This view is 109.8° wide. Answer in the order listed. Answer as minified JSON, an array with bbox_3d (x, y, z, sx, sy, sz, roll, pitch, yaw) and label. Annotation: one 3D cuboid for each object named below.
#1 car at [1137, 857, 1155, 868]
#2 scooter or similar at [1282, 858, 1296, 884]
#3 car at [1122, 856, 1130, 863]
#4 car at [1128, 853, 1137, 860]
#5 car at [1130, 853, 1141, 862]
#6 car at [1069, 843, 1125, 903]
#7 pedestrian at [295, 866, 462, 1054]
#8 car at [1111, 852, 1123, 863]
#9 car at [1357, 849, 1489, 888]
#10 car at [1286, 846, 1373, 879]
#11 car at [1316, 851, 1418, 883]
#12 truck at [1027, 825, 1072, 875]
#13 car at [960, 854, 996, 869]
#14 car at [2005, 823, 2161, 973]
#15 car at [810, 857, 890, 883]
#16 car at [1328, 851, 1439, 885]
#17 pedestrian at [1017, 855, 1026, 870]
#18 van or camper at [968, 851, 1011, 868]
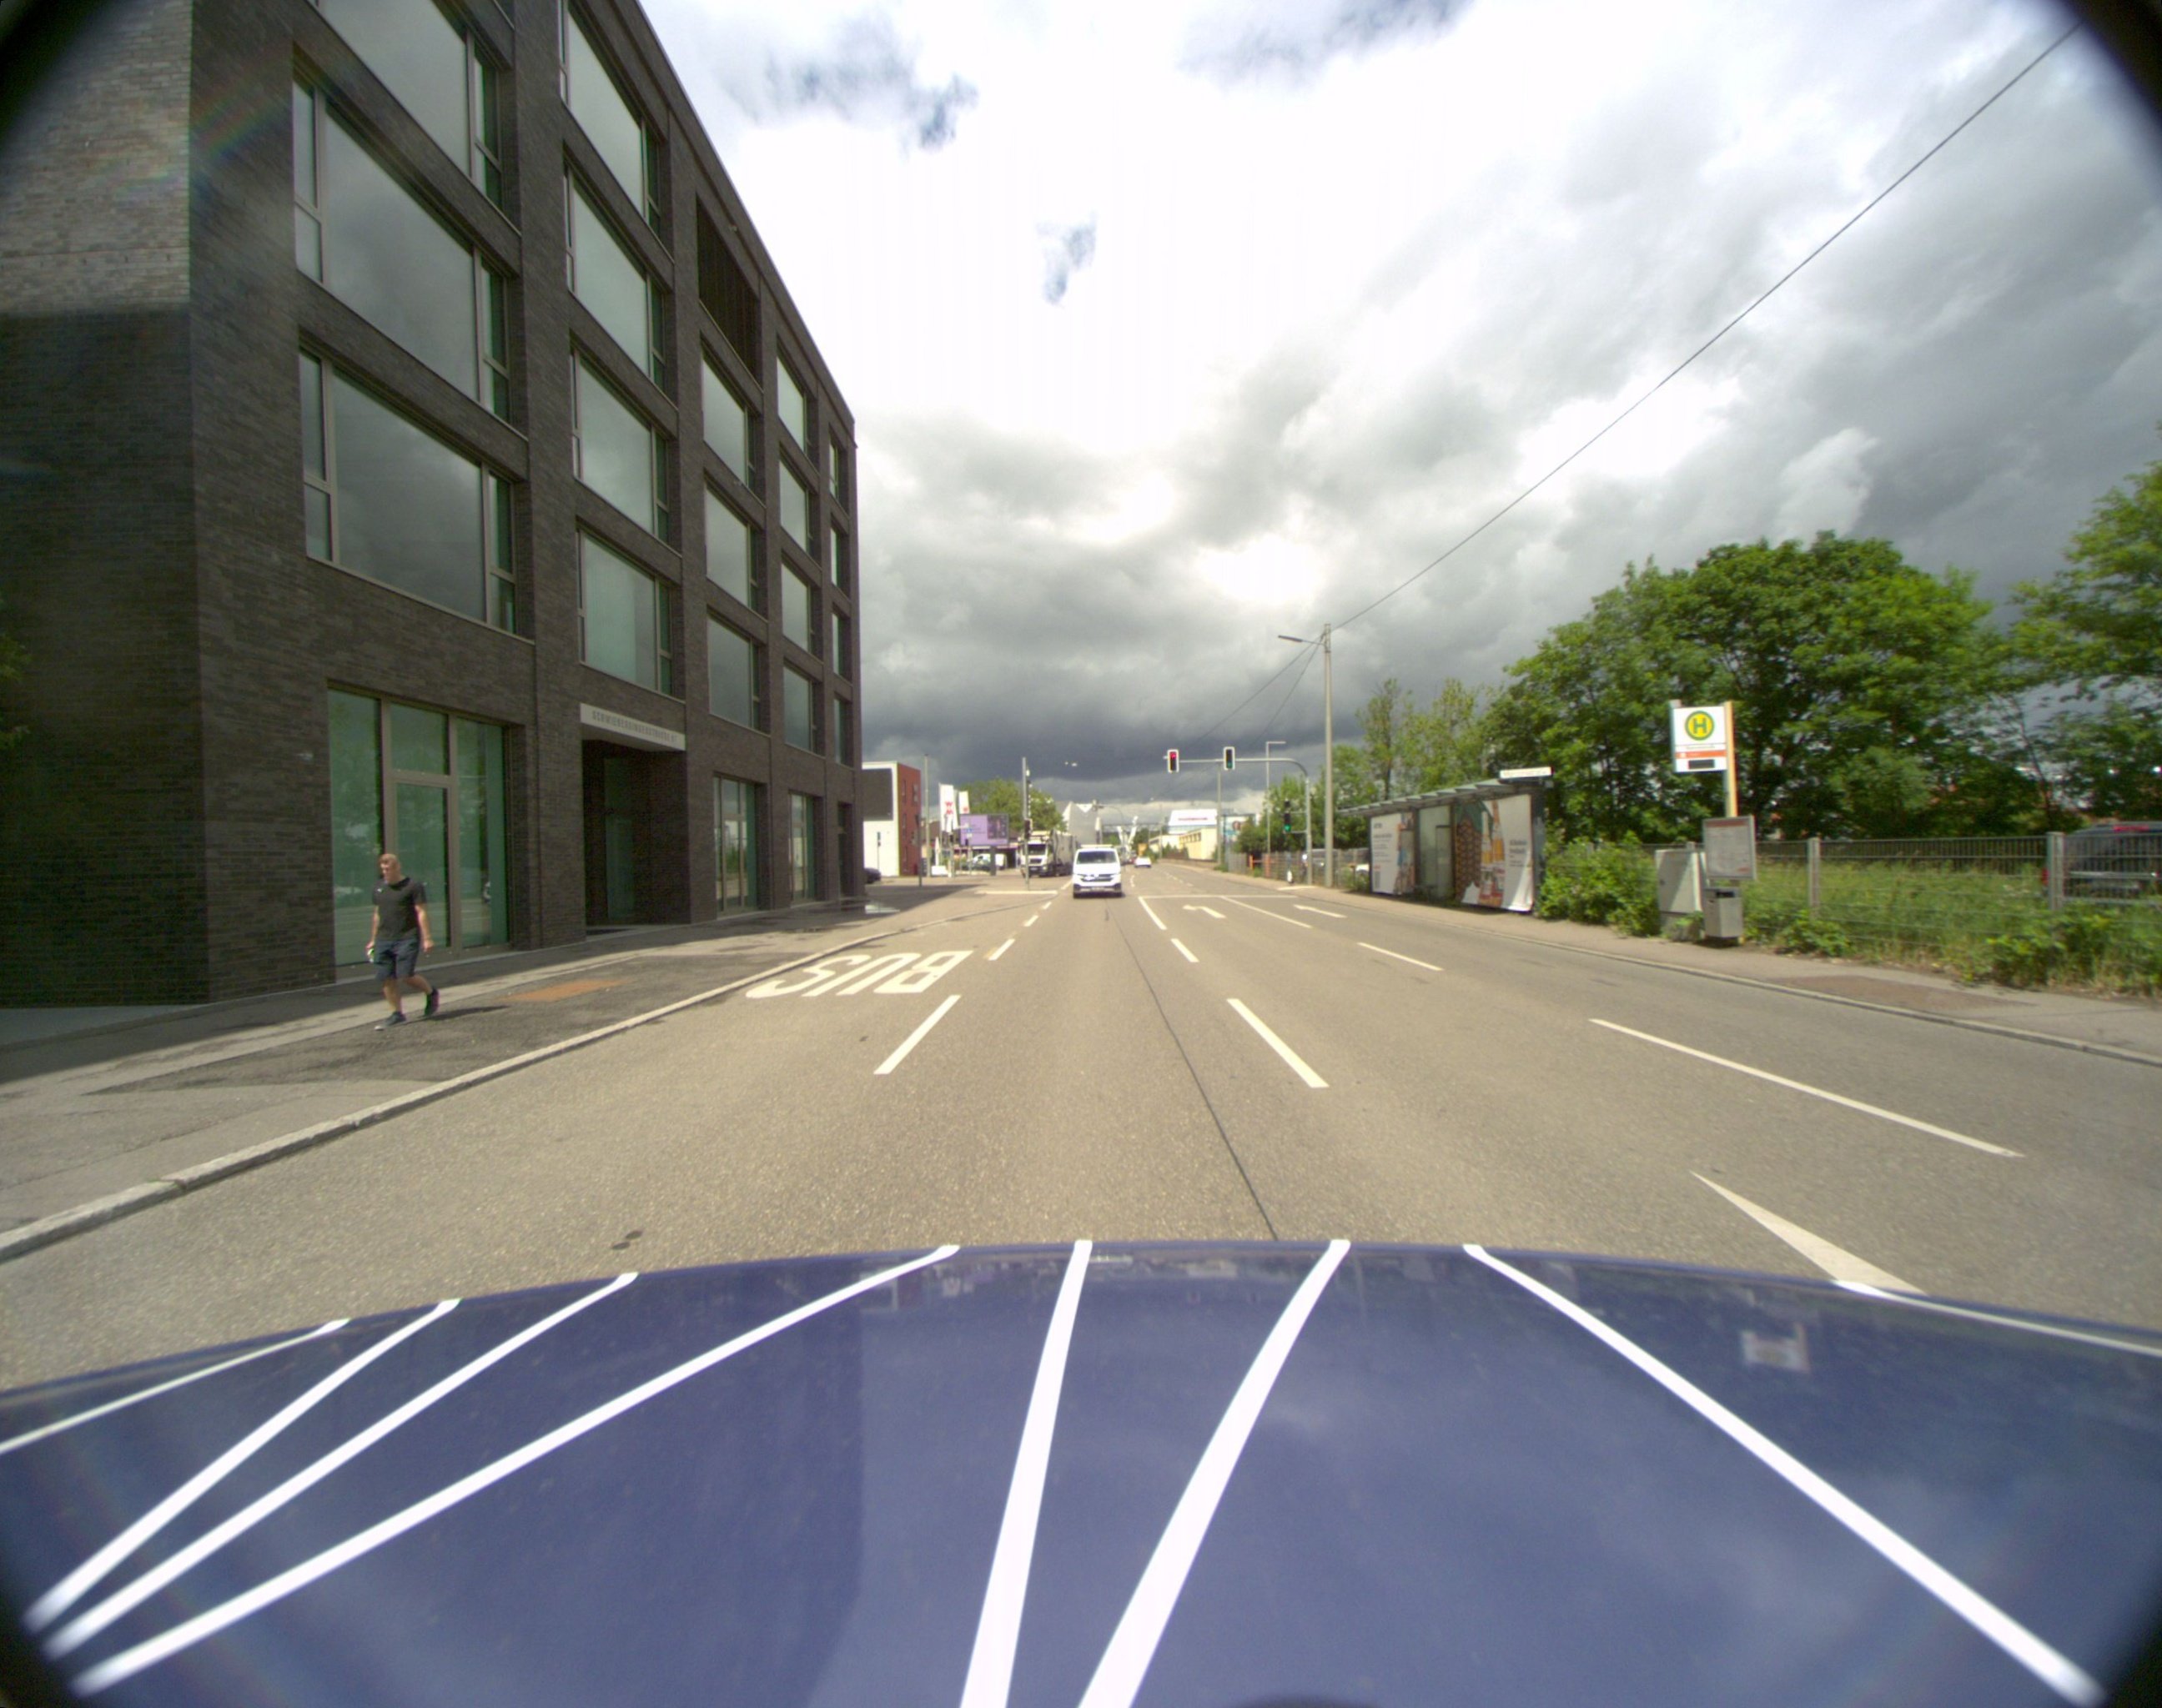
[{"bbox_3d":[7.814,0.998,91.660,1.801,1.368,4.224,0,0,1],"label":"car"},{"bbox_3d":[10.323,0.838,37.652,0.424,1.203,1.126,-3,0,6],"label":"scooter or similar"},{"bbox_3d":[11.820,1.463,198.690,1.860,1.608,4.001,-2,0,2],"label":"car"},{"bbox_3d":[12.197,0.591,180.260,1.860,1.608,4.001,-2,0,2],"label":"car"},{"bbox_3d":[10.593,0.703,148.218,1.935,1.590,4.153,1,0,2],"label":"car"},{"bbox_3d":[0.688,0.660,28.978,1.935,2.078,4.208,-1,1,4],"label":"car"},{"bbox_3d":[-6.924,0.992,7.549,0.685,1.718,0.962,-2,0,0],"label":"pedestrian"},{"bbox_3d":[6.117,0.542,130.177,1.870,1.782,4.208,-1,0,1],"label":"car"},{"bbox_3d":[13.522,0.549,30.250,4.321,1.410,2.025,-1,0,2],"label":"car"},{"bbox_3d":[13.593,0.473,41.757,4.114,1.724,1.999,-1,0,-3],"label":"car"},{"bbox_3d":[13.573,0.600,36.252,4.114,1.410,2.000,-1,0,-2],"label":"car"},{"bbox_3d":[-2.506,-0.379,64.477,2.836,3.889,10.366,-1,1,3],"label":"truck"},{"bbox_3d":[-11.525,0.882,85.332,3.675,1.477,1.762,3,1,4],"label":"car"},{"bbox_3d":[16.460,0.543,10.855,4.289,2.002,2.139,-1,1,-6],"label":"car"},{"bbox_3d":[-15.164,1.020,50.017,4.651,1.609,2.000,-1,0,1],"label":"car"},{"bbox_3d":[13.189,0.598,33.299,4.112,1.410,1.916,-1,0,1],"label":"car"},{"bbox_3d":[-7.140,1.046,91.397,0.714,1.698,0.739,7,2,2],"label":"pedestrian"},{"bbox_3d":[-11.249,0.654,93.334,4.909,1.946,2.212,1,1,2],"label":"van or camper"}]
